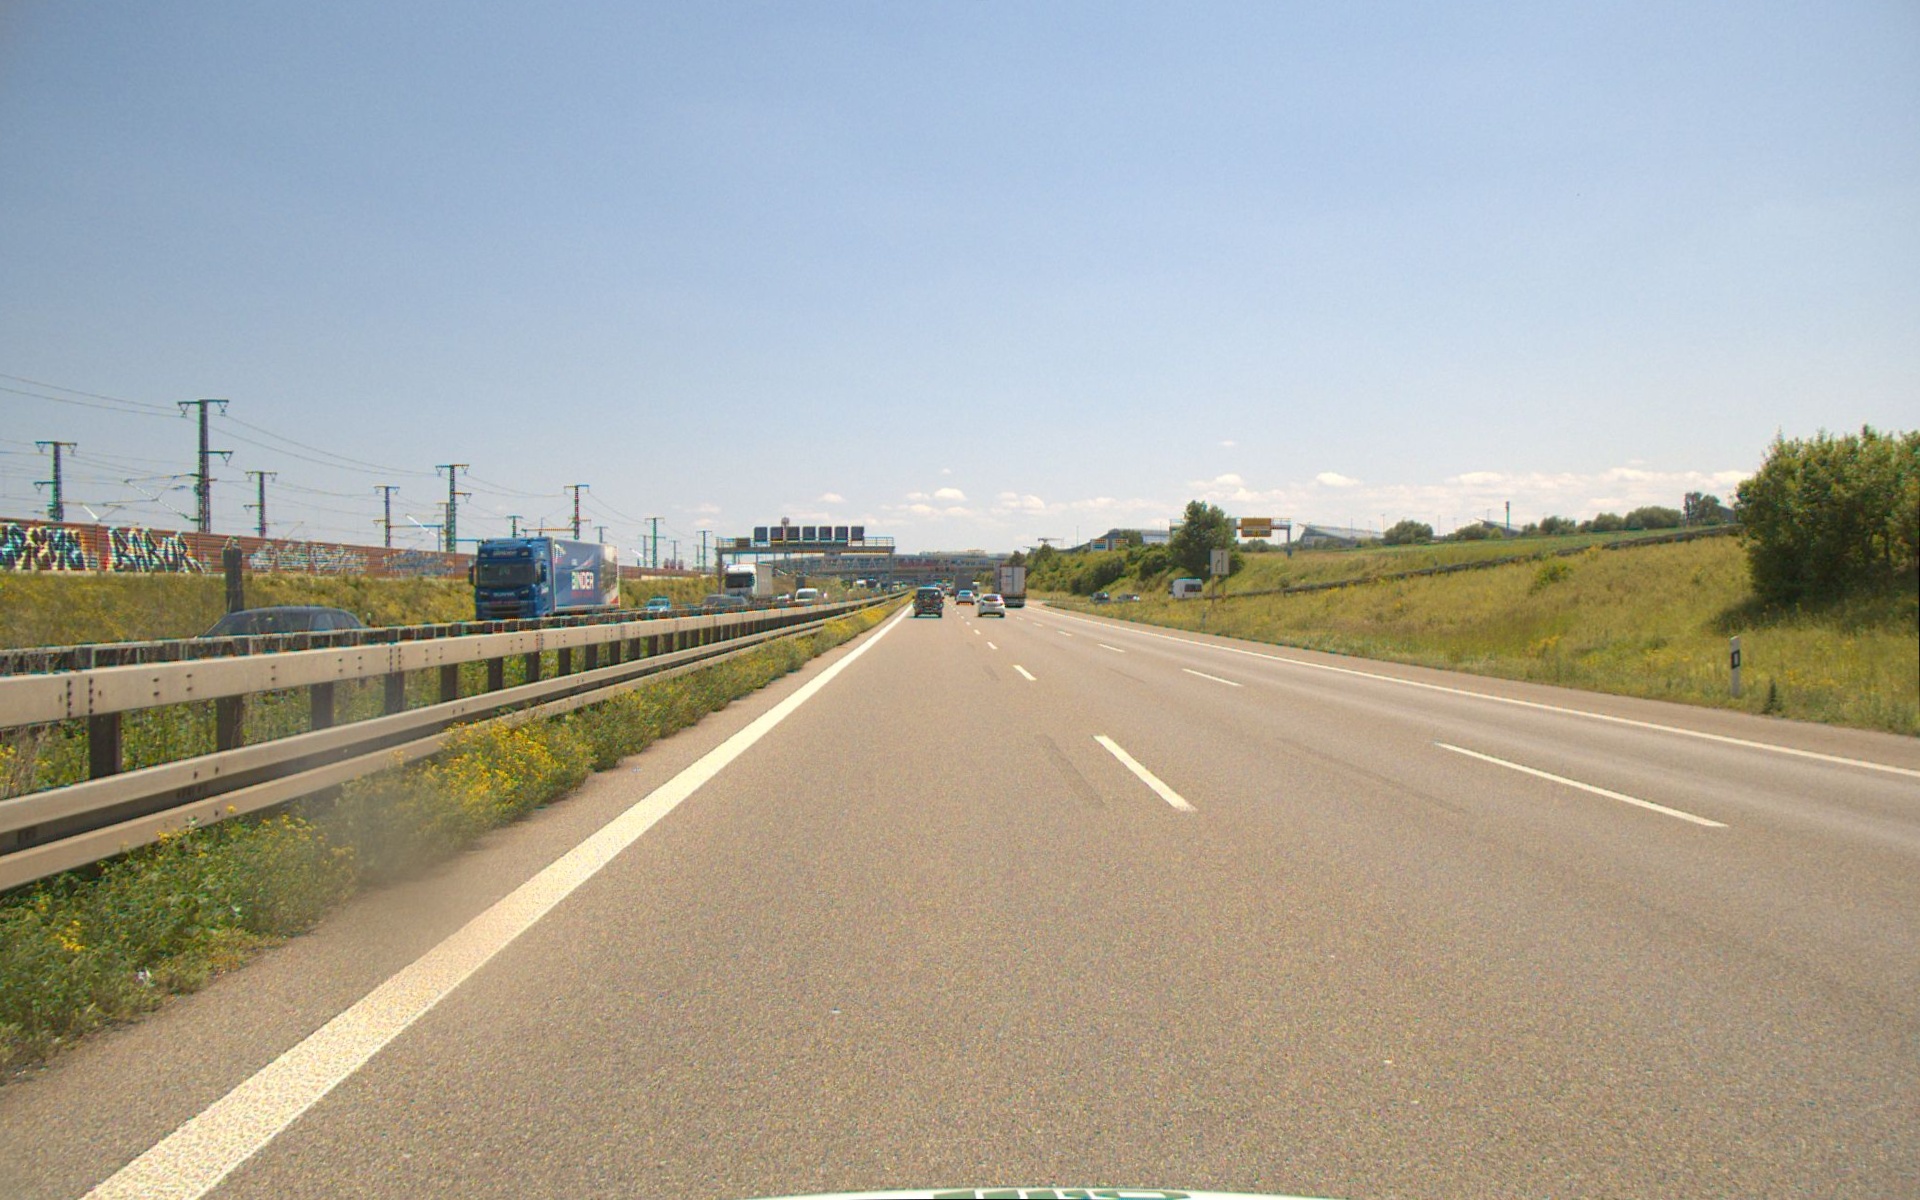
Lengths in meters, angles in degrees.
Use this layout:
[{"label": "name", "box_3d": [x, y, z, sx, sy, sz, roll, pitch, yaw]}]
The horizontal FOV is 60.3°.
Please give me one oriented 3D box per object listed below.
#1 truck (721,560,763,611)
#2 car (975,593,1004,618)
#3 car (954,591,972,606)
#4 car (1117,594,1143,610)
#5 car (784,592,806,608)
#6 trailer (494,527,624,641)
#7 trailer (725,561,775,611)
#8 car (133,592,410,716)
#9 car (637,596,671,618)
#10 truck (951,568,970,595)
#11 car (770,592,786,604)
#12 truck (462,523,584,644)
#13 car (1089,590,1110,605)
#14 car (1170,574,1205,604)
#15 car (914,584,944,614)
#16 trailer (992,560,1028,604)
[{"label": "truck", "box_3d": [-18.244, -1.182, 138.870, 2.674, 4.143, 6.380, -1, 0, 0]}, {"label": "car", "box_3d": [1.928, 0.344, 108.010, 1.842, 1.553, 4.001, 1, 0, 2]}, {"label": "car", "box_3d": [0.334, -0.187, 174.331, 1.842, 1.553, 4.000, 1, 0, 0]}, {"label": "car", "box_3d": [17.174, 0.198, 167.368, 1.954, 1.534, 3.997, 2, -1, -3]}, {"label": "car", "box_3d": [-14.942, -0.007, 149.611, 1.611, 1.487, 3.836, 0, 0, 0]}, {"label": "trailer", "box_3d": [-17.266, -0.690, 72.197, 2.829, 4.484, 12.089, -1, 0, -1]}, {"label": "trailer", "box_3d": [-18.276, -1.225, 144.797, 2.674, 4.145, 13.528, -1, 0, 0]}, {"label": "car", "box_3d": [-9.163, 0.653, 22.448, 1.953, 1.489, 4.384, 1, 0, -1]}, {"label": "car", "box_3d": [-21.762, 0.475, 117.625, 1.718, 1.546, 3.835, 0, 0, -1]}, {"label": "truck", "box_3d": [0.049, -2.419, 217.211, 2.307, 3.476, 6.056, 0, 0, -1]}, {"label": "car", "box_3d": [-23.966, -0.229, 218.022, 1.685, 1.571, 3.809, 0, 1, -1]}, {"label": "truck", "box_3d": [-17.177, -0.645, 65.543, 2.829, 4.484, 7.502, -1, 0, -1]}, {"label": "car", "box_3d": [15.771, -0.307, 187.136, 1.953, 1.624, 3.998, 2, -1, -2]}, {"label": "car", "box_3d": [20.091, -0.996, 146.229, 2.229, 2.572, 5.397, 0, 1, -2]}, {"label": "car", "box_3d": [-1.931, -0.068, 103.047, 1.842, 1.806, 3.999, 0, 0, -1]}, {"label": "trailer", "box_3d": [4.818, -1.777, 161.935, 3.113, 4.130, 9.438, -1, 1, -1]}]
